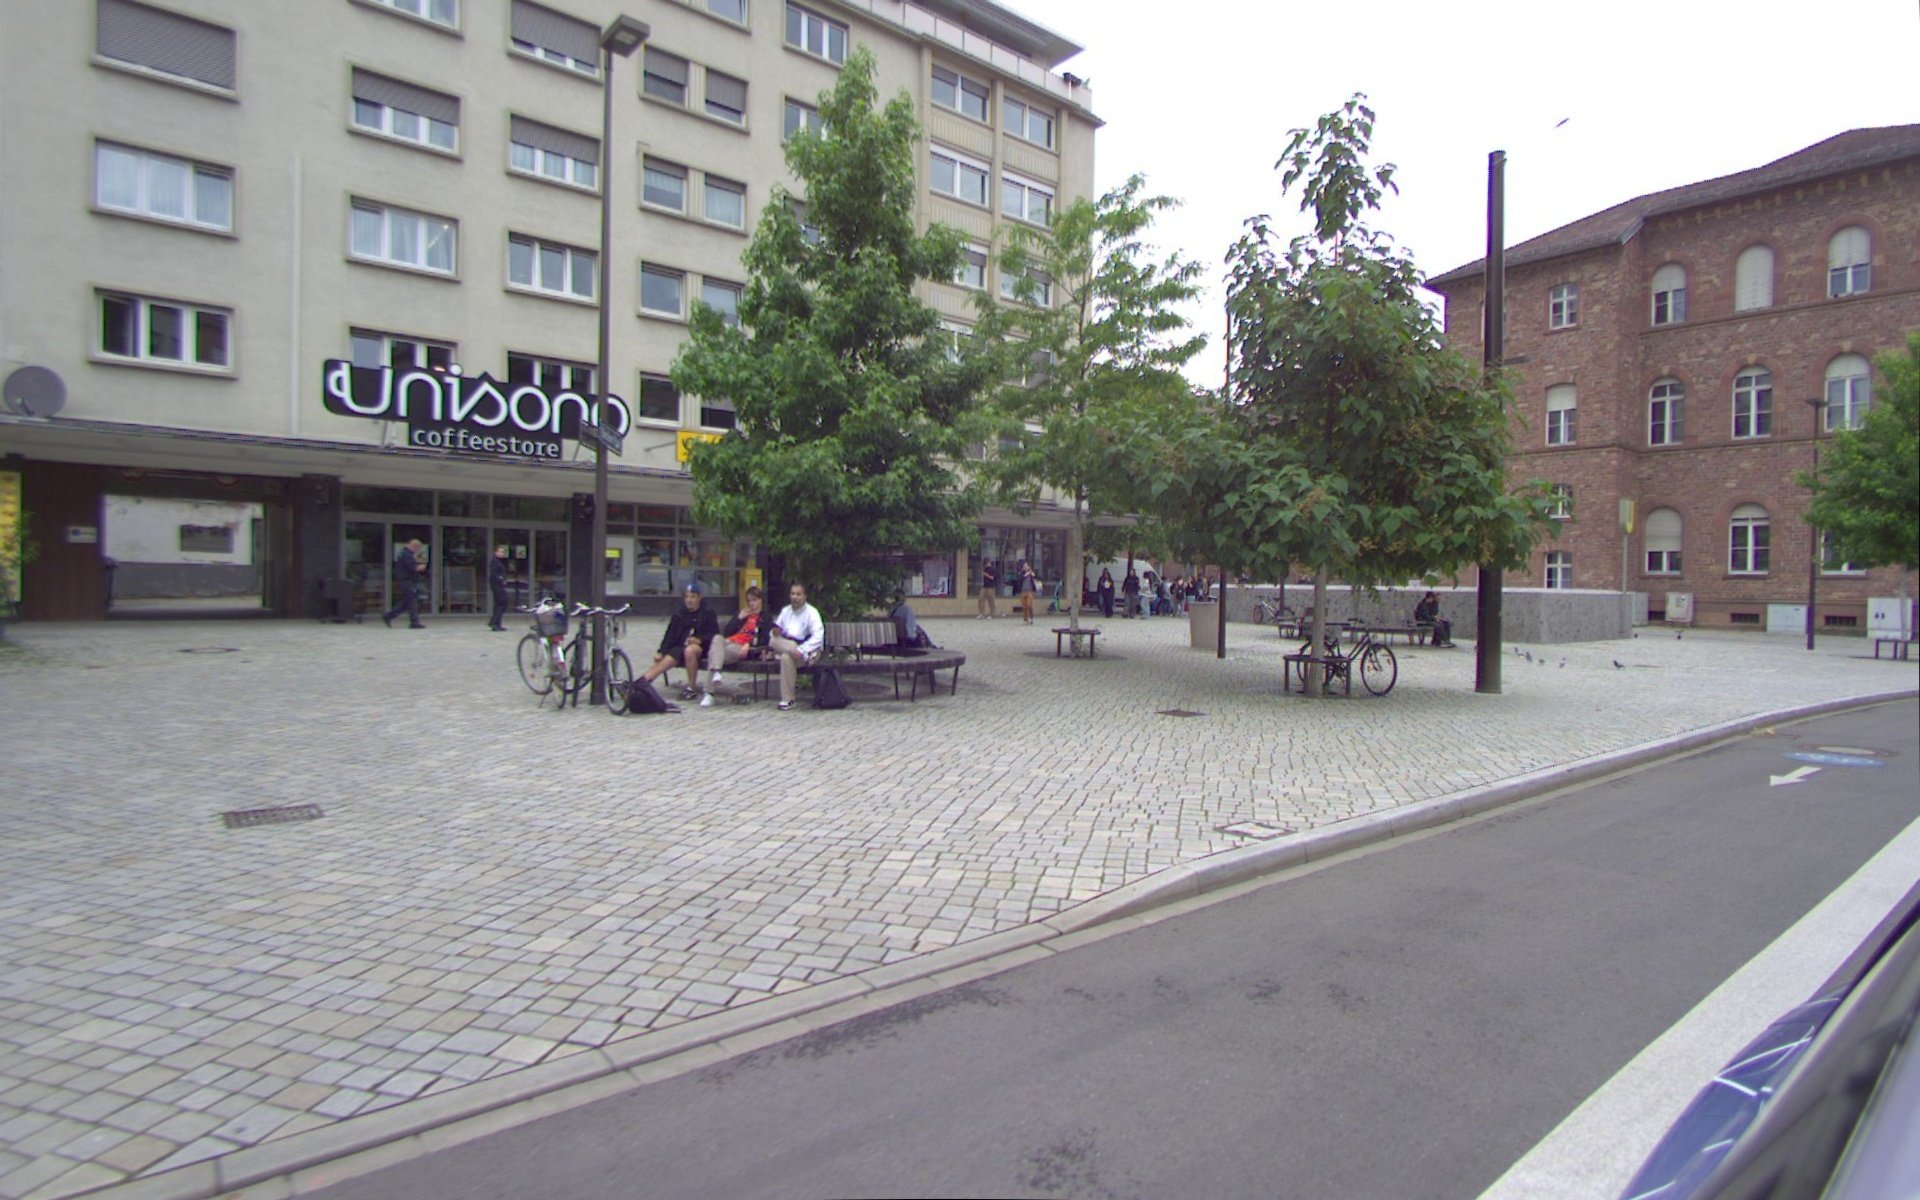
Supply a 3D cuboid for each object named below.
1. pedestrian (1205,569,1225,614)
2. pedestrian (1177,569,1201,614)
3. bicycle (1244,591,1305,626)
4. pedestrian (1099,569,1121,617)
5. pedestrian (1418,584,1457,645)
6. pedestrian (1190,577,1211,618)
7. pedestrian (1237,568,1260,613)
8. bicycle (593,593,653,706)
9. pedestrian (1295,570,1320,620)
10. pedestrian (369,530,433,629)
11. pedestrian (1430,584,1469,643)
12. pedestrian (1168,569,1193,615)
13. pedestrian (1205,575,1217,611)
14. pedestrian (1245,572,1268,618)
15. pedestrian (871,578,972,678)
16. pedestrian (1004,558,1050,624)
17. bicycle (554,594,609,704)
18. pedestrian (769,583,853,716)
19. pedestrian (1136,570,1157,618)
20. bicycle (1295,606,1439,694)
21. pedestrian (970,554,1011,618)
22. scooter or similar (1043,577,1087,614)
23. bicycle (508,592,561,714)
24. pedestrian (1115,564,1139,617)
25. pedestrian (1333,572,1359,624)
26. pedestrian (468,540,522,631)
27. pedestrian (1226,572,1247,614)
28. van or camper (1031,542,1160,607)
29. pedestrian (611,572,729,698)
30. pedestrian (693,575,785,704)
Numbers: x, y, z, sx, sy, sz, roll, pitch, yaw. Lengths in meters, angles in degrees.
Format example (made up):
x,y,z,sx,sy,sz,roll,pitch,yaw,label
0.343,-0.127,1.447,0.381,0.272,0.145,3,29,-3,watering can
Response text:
x,y,z,sx,sy,sz,roll,pitch,yaw,label
10.962,-0.362,43.511,0.525,1.914,0.662,1,-1,-43,pedestrian
8.754,-0.327,38.651,0.579,1.692,0.645,2,0,-19,pedestrian
10.688,0.275,34.450,0.462,1.077,2.028,0,2,-40,bicycle
5.079,-0.233,34.205,0.584,1.606,0.639,2,0,18,pedestrian
12.120,0.358,25.711,0.771,1.473,0.763,3,2,21,pedestrian
10.157,-0.112,42.741,0.661,1.700,0.526,-1,-1,42,pedestrian
10.974,-0.370,38.498,0.579,1.692,0.515,2,0,-18,pedestrian
-3.798,0.513,11.352,0.467,1.124,1.609,1,2,-24,bicycle
12.120,-0.178,35.284,0.579,1.692,0.515,2,0,-16,pedestrian
-10.982,-0.404,19.898,0.836,1.909,0.776,0,-1,-1,pedestrian
12.725,0.340,26.312,0.771,1.473,0.763,3,2,21,pedestrian
8.249,-0.307,37.846,0.579,1.692,0.644,2,0,-24,pedestrian
11.580,-0.305,46.721,0.526,1.642,0.662,0,-1,11,pedestrian
11.083,-0.204,37.776,0.579,1.692,0.515,2,0,-19,pedestrian
-0.544,0.391,14.701,1.385,1.383,0.629,0,-1,-41,pedestrian
1.881,-0.265,28.336,0.769,1.794,1.051,2,1,40,pedestrian
-4.346,0.516,11.568,0.467,1.124,1.609,1,2,-24,bicycle
-1.613,0.515,11.009,0.625,1.383,0.680,0,-1,32,pedestrian
6.324,-0.212,34.274,0.584,1.606,0.639,2,0,18,pedestrian
5.656,0.660,14.186,0.632,1.137,1.922,0,0,-28,bicycle
0.943,-0.430,30.952,0.767,1.925,1.054,2,1,33,pedestrian
3.631,-0.156,35.068,1.406,1.218,0.503,1,2,-15,scooter or similar
-4.590,0.513,10.880,0.467,1.124,2.045,1,2,-24,bicycle
5.752,-0.330,34.855,0.631,1.791,0.592,2,0,-3,pedestrian
12.907,-0.065,33.822,0.579,1.692,0.515,2,0,-19,pedestrian
-9.309,-0.299,20.270,0.704,1.773,0.776,2,2,-1,pedestrian
11.803,-0.296,43.238,0.661,1.780,0.622,-1,-1,41,pedestrian
6.243,-1.083,45.959,6.443,2.754,1.997,0,0,-40,van or camper
-3.342,0.388,11.663,1.253,1.383,0.545,0,-1,-22,pedestrian
-2.472,0.419,11.290,0.900,1.383,0.631,0,-1,-22,pedestrian
